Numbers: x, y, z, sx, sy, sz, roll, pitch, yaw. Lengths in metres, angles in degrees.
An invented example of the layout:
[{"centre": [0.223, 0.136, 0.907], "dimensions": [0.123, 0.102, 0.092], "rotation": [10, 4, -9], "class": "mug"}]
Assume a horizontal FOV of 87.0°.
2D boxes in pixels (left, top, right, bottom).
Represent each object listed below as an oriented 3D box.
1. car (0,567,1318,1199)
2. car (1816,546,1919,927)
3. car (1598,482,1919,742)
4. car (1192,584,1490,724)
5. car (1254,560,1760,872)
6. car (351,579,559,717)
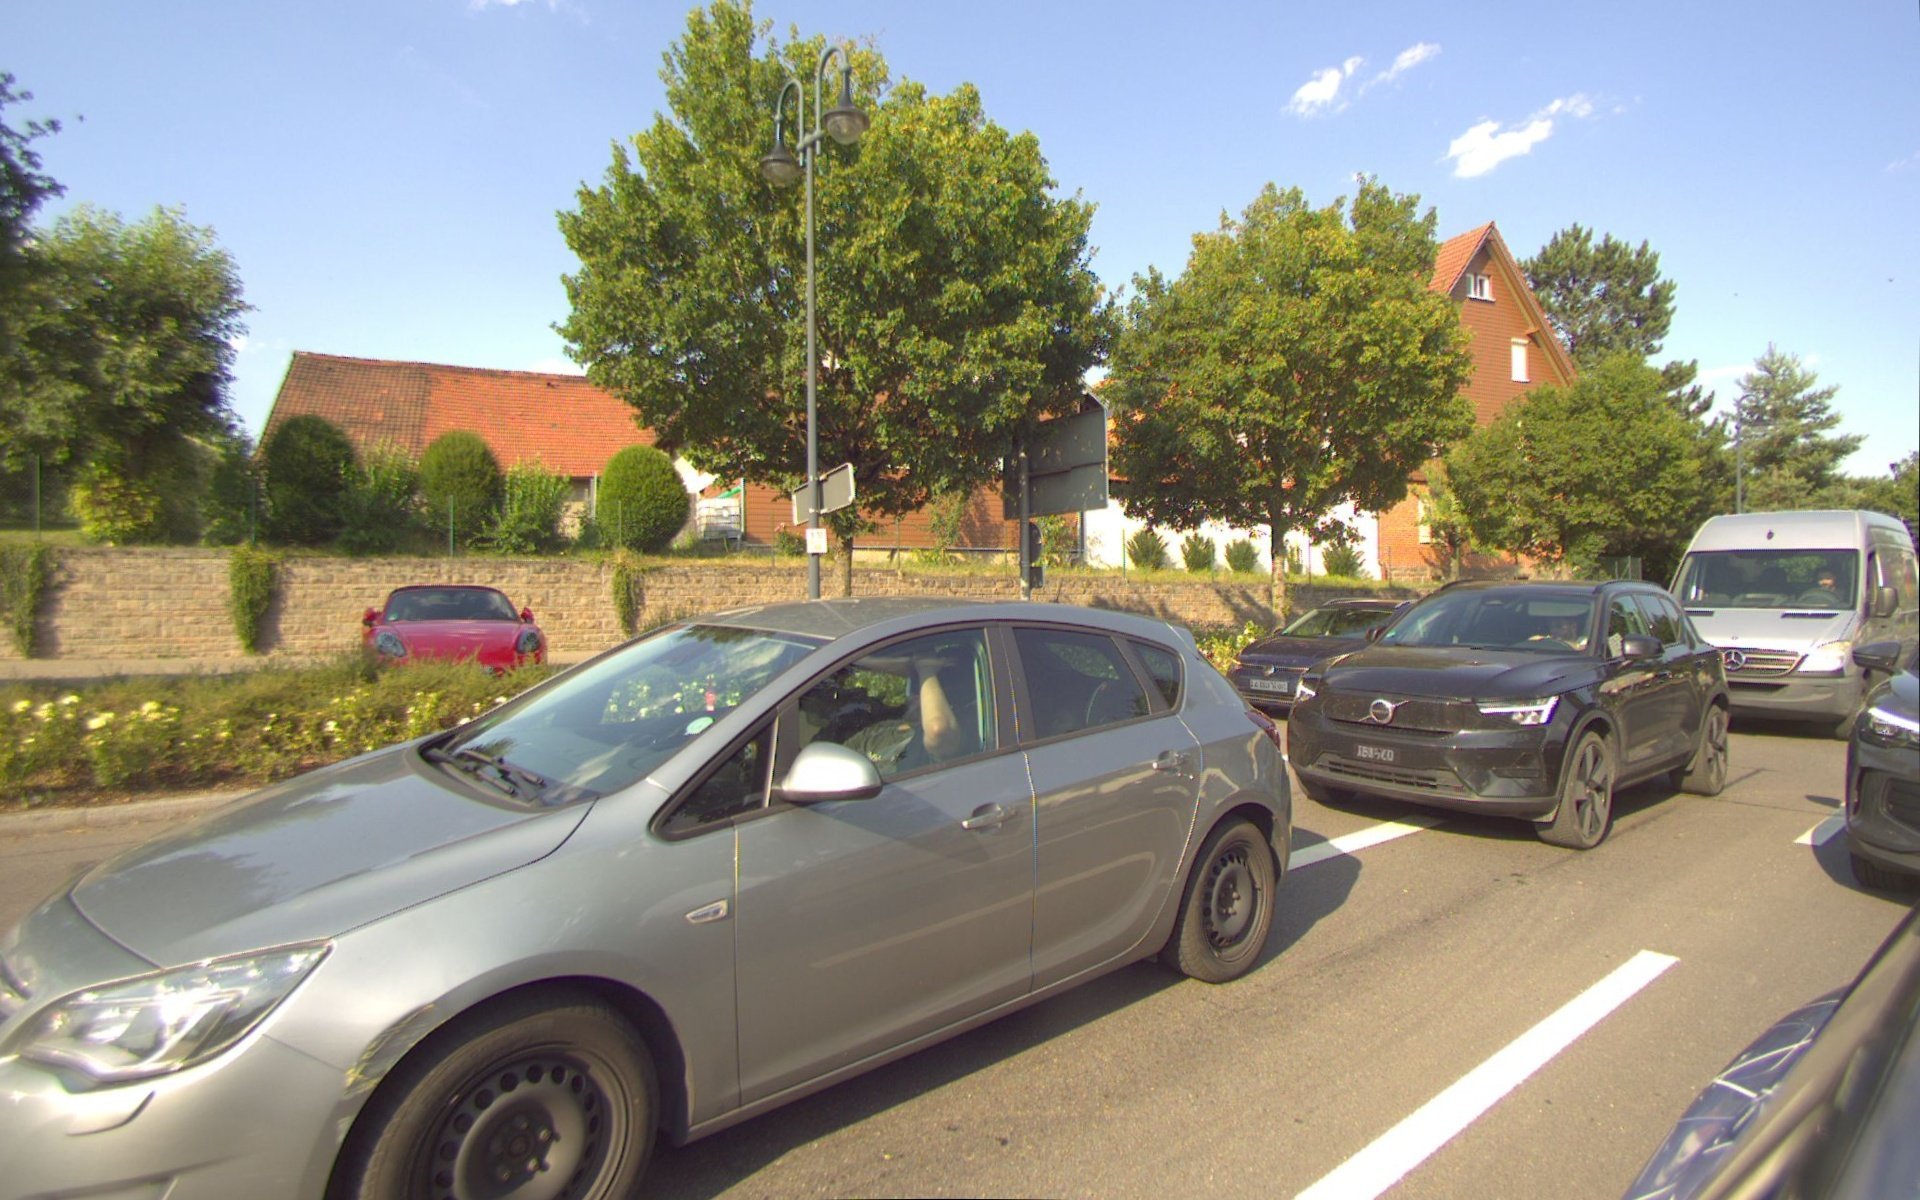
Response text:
[{"centre": [-0.616, 0.666, 3.500], "dimensions": [4.095, 1.460, 1.746], "rotation": [0, 0, -41], "class": "car"}, {"centre": [6.375, 0.598, 5.502], "dimensions": [4.646, 1.677, 1.893], "rotation": [0, 0, -40], "class": "car"}, {"centre": [10.559, 0.096, 12.906], "dimensions": [6.082, 2.579, 2.369], "rotation": [0, 0, -40], "class": "car"}, {"centre": [5.052, 0.579, 13.183], "dimensions": [4.126, 1.538, 1.820], "rotation": [0, 0, -39], "class": "car"}, {"centre": [4.104, 0.593, 7.329], "dimensions": [4.054, 1.629, 1.885], "rotation": [0, 0, -40], "class": "car"}, {"centre": [-5.809, 0.435, 11.666], "dimensions": [1.816, 1.288, 4.005], "rotation": [0, 0, -28], "class": "car"}]
